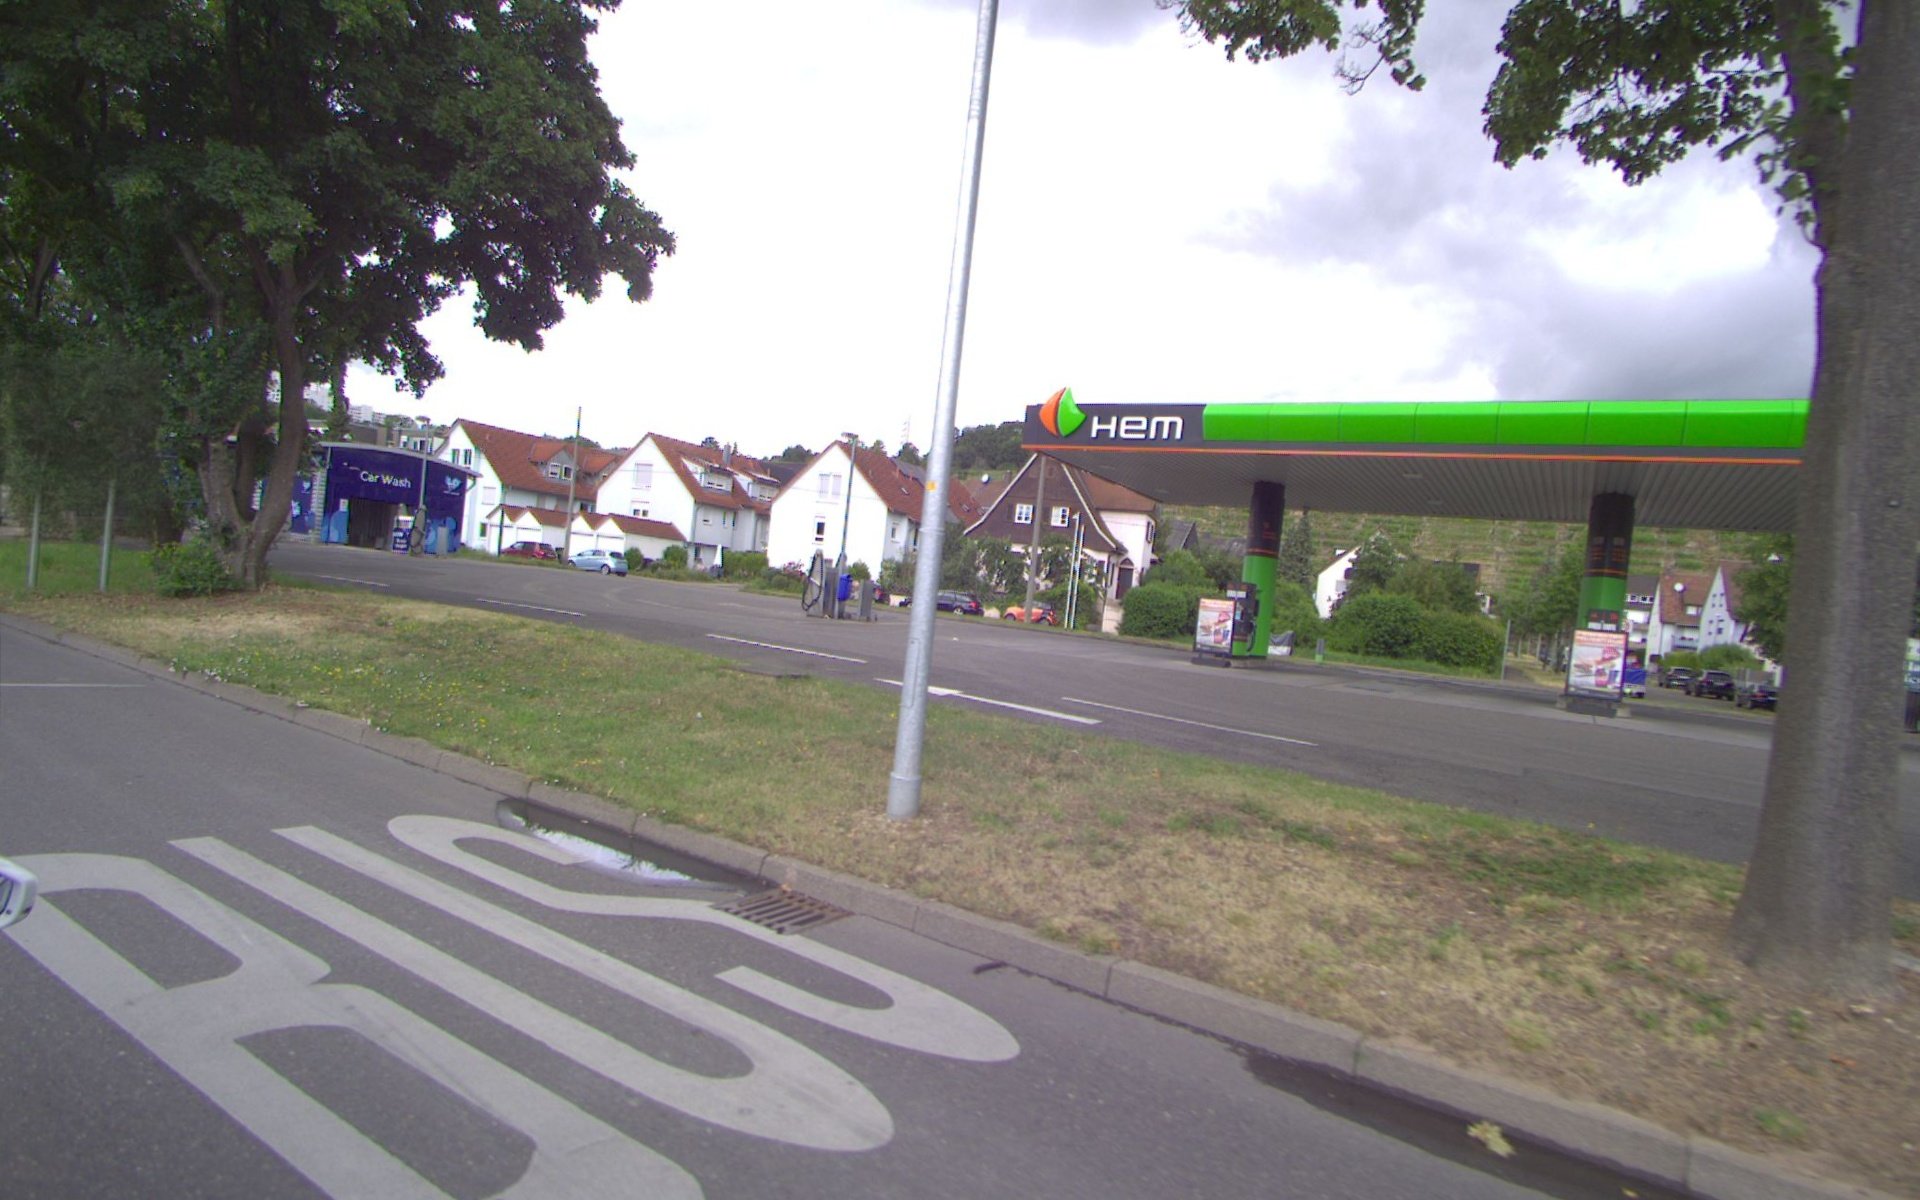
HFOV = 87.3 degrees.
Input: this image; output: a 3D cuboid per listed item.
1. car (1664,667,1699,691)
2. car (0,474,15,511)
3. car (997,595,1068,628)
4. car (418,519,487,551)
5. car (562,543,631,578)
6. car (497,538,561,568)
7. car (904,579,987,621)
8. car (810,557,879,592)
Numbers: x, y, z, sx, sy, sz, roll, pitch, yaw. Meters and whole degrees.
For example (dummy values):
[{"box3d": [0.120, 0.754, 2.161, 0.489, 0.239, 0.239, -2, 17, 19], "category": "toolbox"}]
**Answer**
[{"box3d": [53.817, 5.909, 75.114, 1.709, 1.433, 3.993, 7, -1, 32], "category": "car"}, {"box3d": [-44.895, -5.012, 45.691, 1.992, 1.704, 4.537, 6, 1, -34], "category": "car"}, {"box3d": [3.771, 0.591, 52.265, 3.273, 1.279, 1.421, 7, -1, 20], "category": "car"}, {"box3d": [-37.983, -4.867, 75.351, 1.747, 1.704, 4.225, 7, -1, 29], "category": "car"}, {"box3d": [-22.101, -2.412, 61.192, 3.667, 1.618, 1.538, 7, -1, 20], "category": "car"}, {"box3d": [-26.979, -2.941, 63.003, 3.354, 1.411, 1.586, 7, -1, 20], "category": "car"}, {"box3d": [-0.756, 0.007, 53.747, 3.925, 1.709, 1.761, 7, -1, 20], "category": "car"}, {"box3d": [-7.204, -1.586, 62.584, 3.934, 1.706, 1.691, 7, 2, 32], "category": "car"}]
